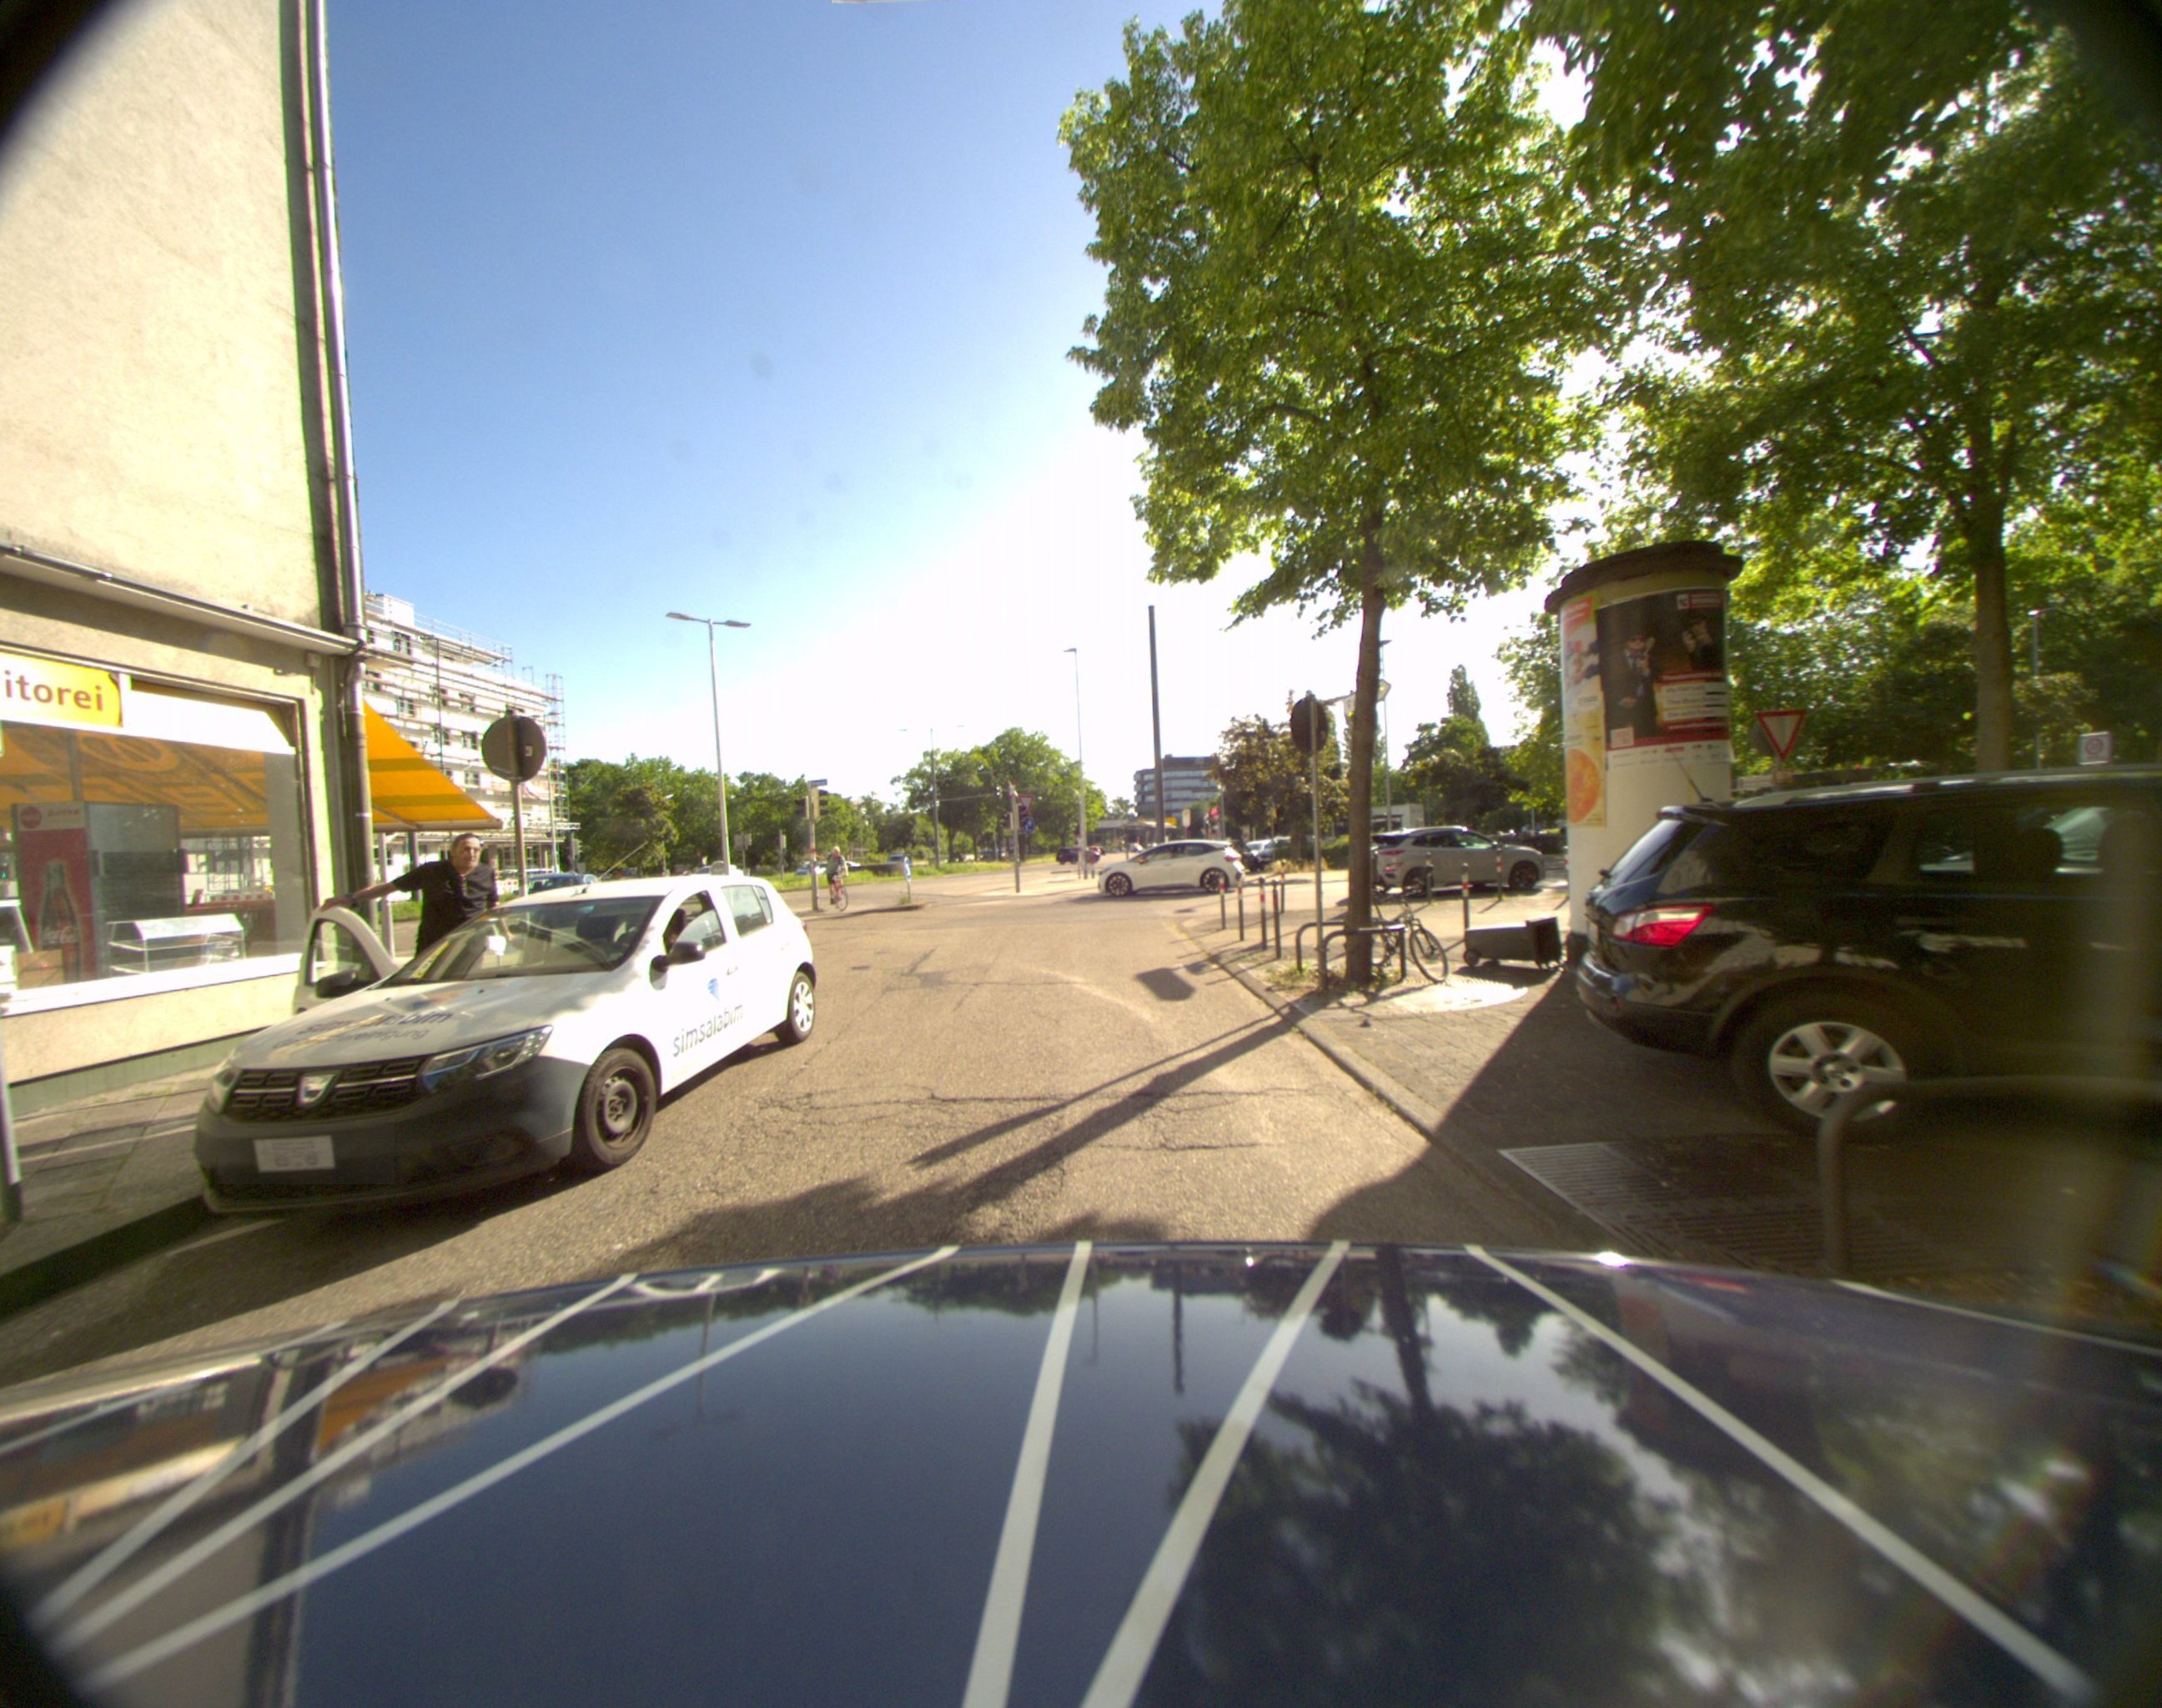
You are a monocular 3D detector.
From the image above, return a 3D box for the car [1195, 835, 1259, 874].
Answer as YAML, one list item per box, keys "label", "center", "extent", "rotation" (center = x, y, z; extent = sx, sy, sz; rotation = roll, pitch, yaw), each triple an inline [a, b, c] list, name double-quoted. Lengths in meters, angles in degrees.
- label: "car"
  center: [6.548, 0.000, 33.895]
  extent: [1.680, 1.499, 3.602]
  rotation: [-5, 0, 28]

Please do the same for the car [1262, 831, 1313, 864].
- label: "car"
  center: [10.879, -0.359, 39.775]
  extent: [1.795, 1.571, 4.006]
  rotation: [-2, 1, 26]

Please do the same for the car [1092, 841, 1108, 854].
- label: "car"
  center: [2.647, -0.910, 105.172]
  extent: [1.998, 1.543, 4.485]
  rotation: [-3, 1, 2]

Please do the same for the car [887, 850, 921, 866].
- label: "car"
  center: [-18.219, 0.438, 78.553]
  extent: [1.871, 1.447, 4.487]
  rotation: [-3, 1, 8]

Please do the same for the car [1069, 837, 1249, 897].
- label: "car"
  center: [2.357, 0.375, 22.648]
  extent: [5.027, 1.510, 1.925]
  rotation: [-3, 1, 16]

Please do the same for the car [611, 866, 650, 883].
- label: "car"
  center: [-48.955, 2.190, 82.587]
  extent: [1.820, 1.575, 3.685]
  rotation: [-3, 1, 3]

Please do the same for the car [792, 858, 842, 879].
- label: "car"
  center: [-21.229, 1.123, 61.201]
  extent: [1.871, 1.447, 4.487]
  rotation: [-3, 1, 8]

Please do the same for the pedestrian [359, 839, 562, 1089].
- label: "pedestrian"
  center: [-4.544, 0.764, 5.621]
  extent: [0.760, 1.712, 0.745]
  rotation: [-3, 1, 6]

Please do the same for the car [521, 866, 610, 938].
- label: "car"
  center: [-15.094, 1.300, 22.130]
  extent: [1.877, 1.765, 4.473]
  rotation: [-4, 1, -36]

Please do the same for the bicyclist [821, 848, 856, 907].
- label: "bicyclist"
  center: [-6.749, 0.638, 21.122]
  extent: [0.829, 1.555, 0.595]
  rotation: [-3, 1, -22]

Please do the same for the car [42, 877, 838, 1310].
- label: "car"
  center: [-3.200, 1.024, 5.041]
  extent: [1.723, 1.489, 4.022]
  rotation: [-3, 1, 1]

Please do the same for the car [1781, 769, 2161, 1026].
- label: "car"
  center: [7.891, 0.211, 5.285]
  extent: [3.991, 1.601, 1.925]
  rotation: [-2, 1, 21]

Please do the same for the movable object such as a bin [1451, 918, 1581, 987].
- label: "movable object such as a bin"
  center: [4.728, 1.052, 8.320]
  extent: [0.578, 0.562, 1.112]
  rotation: [-3, 1, -20]

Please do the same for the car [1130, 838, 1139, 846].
- label: "car"
  center: [14.232, -3.085, 202.860]
  extent: [1.998, 2.002, 4.000]
  rotation: [-3, 1, 1]

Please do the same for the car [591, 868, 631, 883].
- label: "car"
  center: [-51.182, 2.307, 82.853]
  extent: [1.820, 1.386, 3.685]
  rotation: [-3, 1, 3]

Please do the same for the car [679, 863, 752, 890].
- label: "car"
  center: [-23.011, 1.387, 48.055]
  extent: [1.871, 1.447, 4.487]
  rotation: [-3, 1, 8]

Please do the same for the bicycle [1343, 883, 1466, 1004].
- label: "bicycle"
  center: [3.386, 0.890, 8.092]
  extent: [0.354, 1.066, 1.591]
  rotation: [-3, 1, -10]

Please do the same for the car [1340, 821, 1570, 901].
- label: "car"
  center: [8.682, 0.141, 17.872]
  extent: [4.483, 1.543, 1.904]
  rotation: [-3, 1, -6]

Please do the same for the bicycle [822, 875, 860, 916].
- label: "bicycle"
  center: [-6.649, 1.123, 20.971]
  extent: [0.830, 0.981, 1.943]
  rotation: [-3, 1, -21]

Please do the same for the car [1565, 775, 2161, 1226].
- label: "car"
  center: [4.824, 0.489, 3.387]
  extent: [4.326, 1.661, 1.840]
  rotation: [-5, 0, 30]
